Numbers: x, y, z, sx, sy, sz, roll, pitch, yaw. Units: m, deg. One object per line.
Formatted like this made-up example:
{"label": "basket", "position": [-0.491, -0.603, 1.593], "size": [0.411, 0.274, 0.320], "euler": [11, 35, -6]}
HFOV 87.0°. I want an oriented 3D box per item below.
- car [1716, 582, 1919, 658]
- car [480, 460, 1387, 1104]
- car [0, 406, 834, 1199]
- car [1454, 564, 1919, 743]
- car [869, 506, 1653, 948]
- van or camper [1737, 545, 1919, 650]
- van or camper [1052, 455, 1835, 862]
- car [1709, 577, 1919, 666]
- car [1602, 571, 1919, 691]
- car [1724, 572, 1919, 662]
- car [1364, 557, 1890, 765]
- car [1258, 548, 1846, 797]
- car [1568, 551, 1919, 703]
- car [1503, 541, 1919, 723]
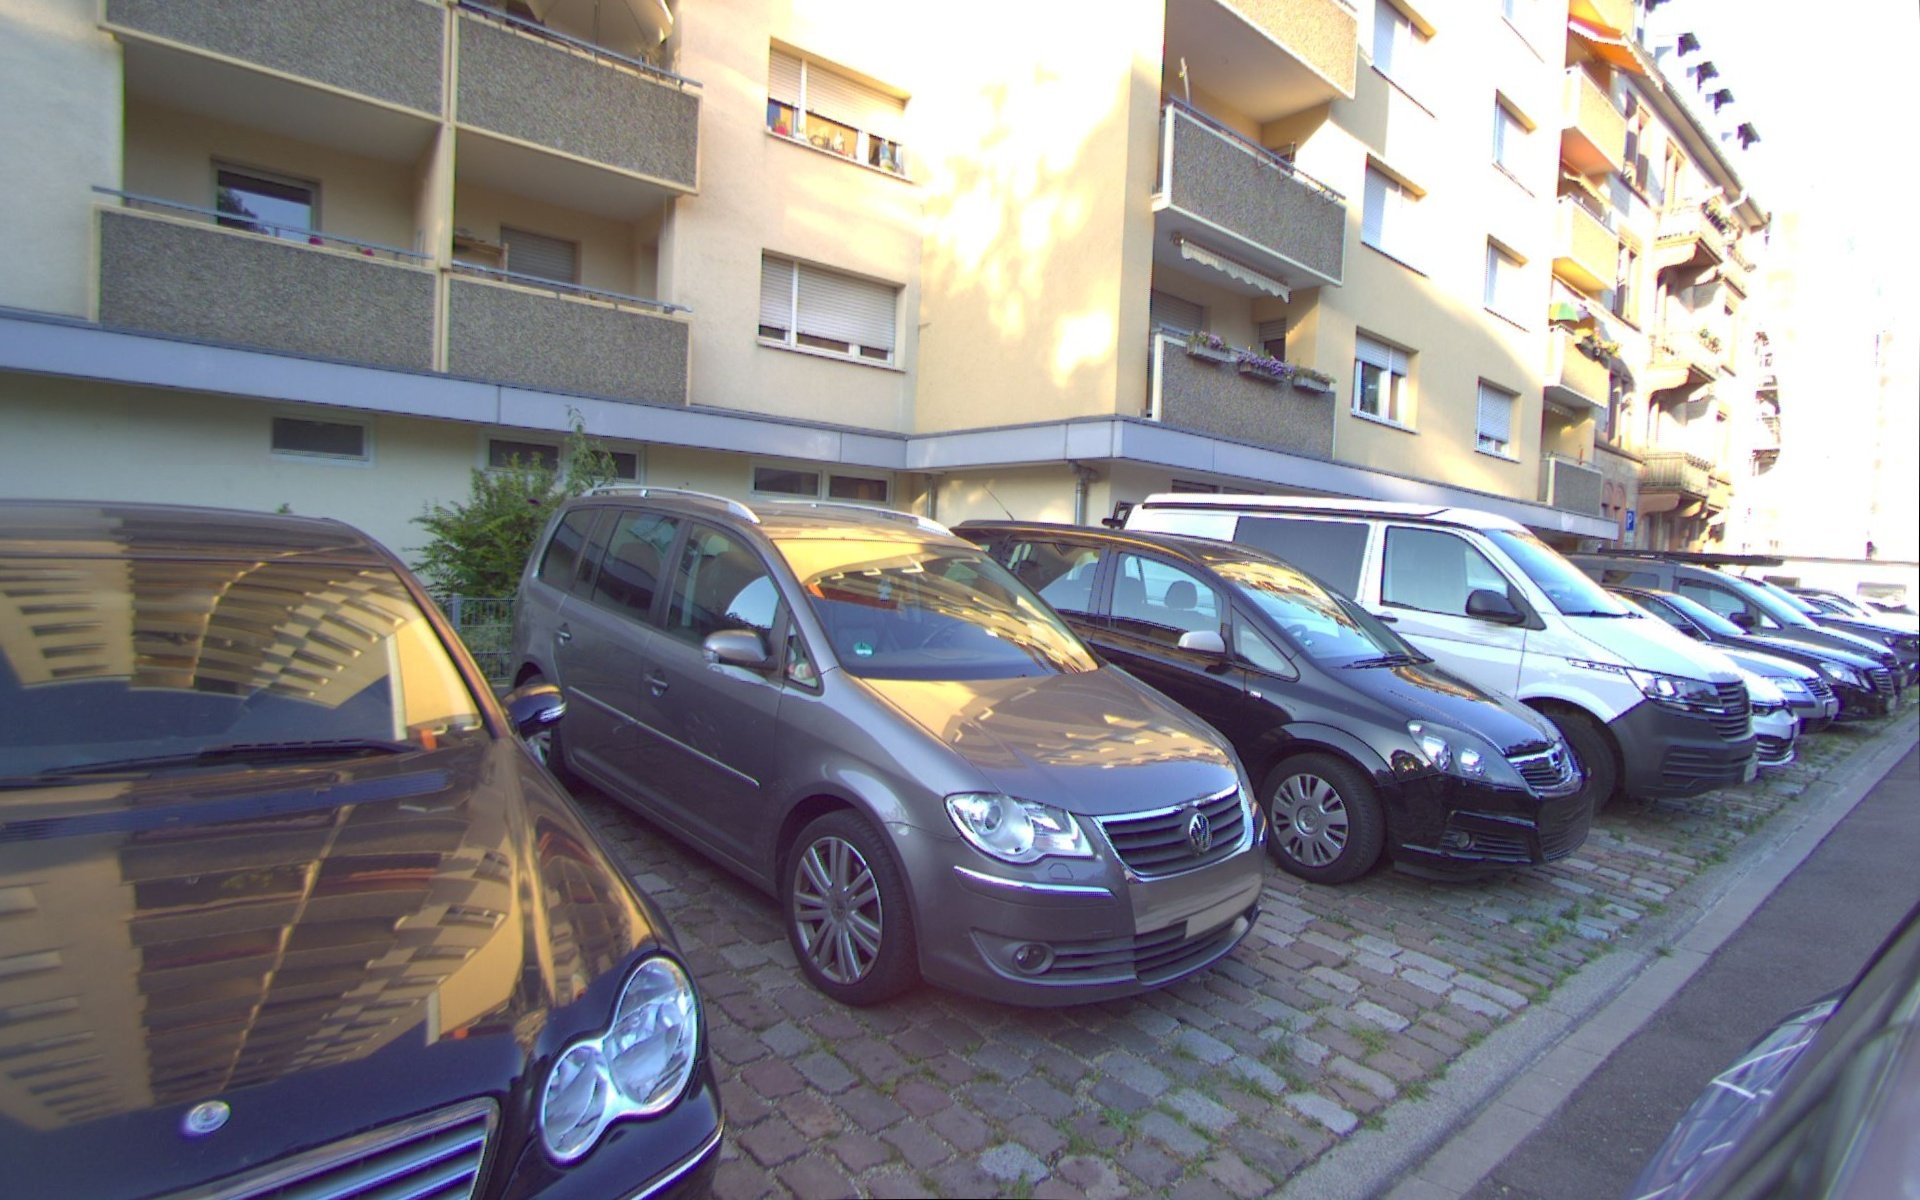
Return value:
{"label": "car", "position": [22.353, 0.449, 25.970], "size": [1.813, 1.638, 4.414], "euler": [-2, 4, -40]}
{"label": "car", "position": [-0.593, 0.235, 4.824], "size": [1.815, 1.680, 4.412], "euler": [-2, 7, -43]}
{"label": "car", "position": [-2.419, 0.374, 2.957], "size": [1.815, 1.549, 4.411], "euler": [-2, 6, -43]}
{"label": "car", "position": [8.767, 0.461, 12.466], "size": [1.814, 1.581, 4.413], "euler": [-2, 6, -41]}
{"label": "car", "position": [1.477, 0.359, 6.316], "size": [1.752, 1.680, 4.334], "euler": [-2, 7, -43]}
{"label": "van or camper", "position": [24.994, -0.043, 27.218], "size": [2.014, 2.534, 6.074], "euler": [1, 4, -41]}
{"label": "van or camper", "position": [3.385, 0.057, 8.109], "size": [2.006, 2.192, 5.144], "euler": [0, 7, -43]}
{"label": "car", "position": [19.211, 0.422, 21.941], "size": [1.813, 1.572, 4.415], "euler": [-2, 6, -40]}
{"label": "car", "position": [14.118, 0.415, 17.755], "size": [1.813, 1.572, 4.416], "euler": [-2, 5, -39]}
{"label": "car", "position": [20.969, 0.351, 23.771], "size": [1.812, 1.769, 4.418], "euler": [-1, 5, -37]}
{"label": "car", "position": [6.998, 0.437, 11.046], "size": [1.814, 1.611, 4.413], "euler": [-2, 6, -41]}
{"label": "car", "position": [5.292, 0.416, 9.589], "size": [1.814, 1.650, 4.413], "euler": [-2, 6, -41]}
{"label": "car", "position": [12.359, 0.300, 15.776], "size": [1.814, 1.885, 4.522], "euler": [0, 4, -41]}
{"label": "car", "position": [10.561, 0.257, 14.344], "size": [1.814, 2.004, 4.647], "euler": [-2, 6, -41]}
